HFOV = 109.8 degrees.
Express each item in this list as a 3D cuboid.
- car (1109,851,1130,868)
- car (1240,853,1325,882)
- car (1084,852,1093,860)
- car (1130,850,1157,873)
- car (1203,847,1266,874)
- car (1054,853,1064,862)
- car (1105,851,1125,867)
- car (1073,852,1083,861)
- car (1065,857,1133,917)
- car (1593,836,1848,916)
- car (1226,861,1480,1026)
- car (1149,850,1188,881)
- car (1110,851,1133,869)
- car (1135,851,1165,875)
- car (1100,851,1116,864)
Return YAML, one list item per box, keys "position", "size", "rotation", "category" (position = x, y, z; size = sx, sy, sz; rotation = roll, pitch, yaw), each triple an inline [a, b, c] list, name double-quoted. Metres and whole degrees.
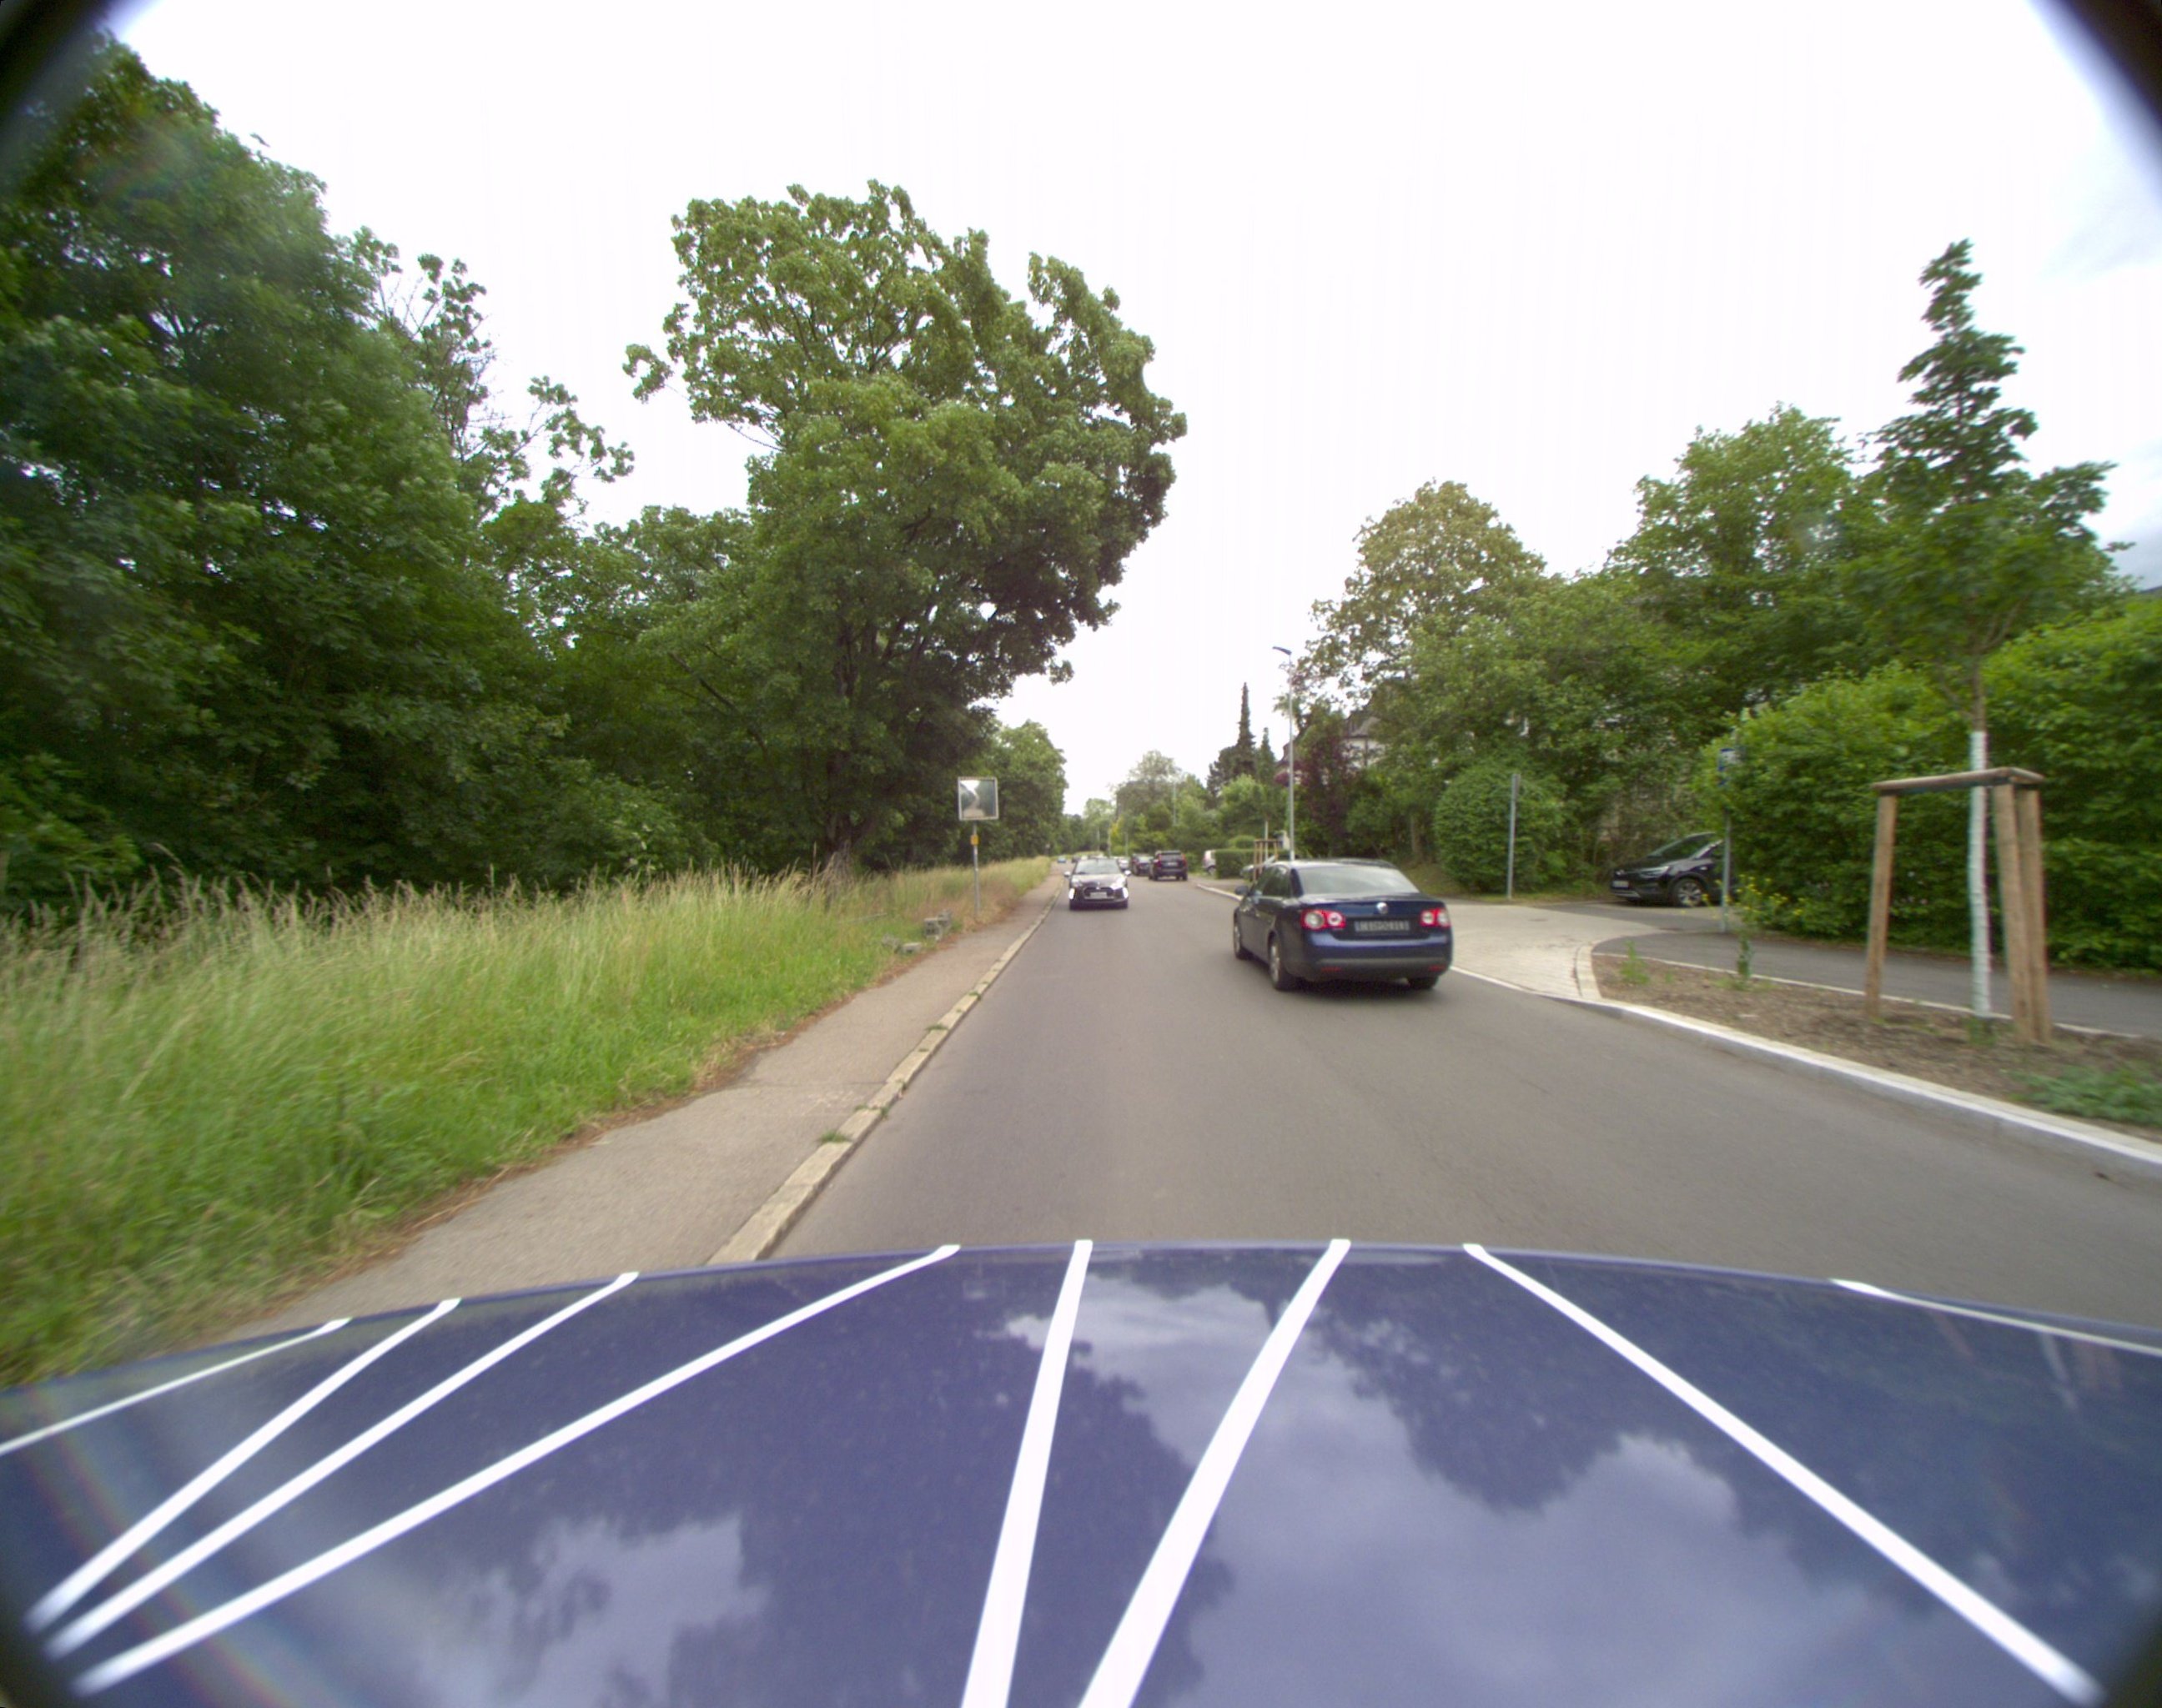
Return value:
- position: [3.987, 0.513, 79.458]
  size: [1.922, 1.670, 4.194]
  rotation: [-2, 0, -1]
  category: "car"
- position: [9.886, 0.657, 37.537]
  size: [3.773, 1.306, 1.641]
  rotation: [-2, 0, 3]
  category: "car"
- position: [1.659, 0.476, 172.110]
  size: [1.922, 1.670, 4.194]
  rotation: [-2, 0, -1]
  category: "car"
- position: [4.983, 0.572, 61.280]
  size: [1.922, 1.670, 4.195]
  rotation: [-2, 0, 2]
  category: "car"
- position: [9.654, 0.411, 48.058]
  size: [3.772, 1.581, 1.641]
  rotation: [-2, 0, 7]
  category: "car"
- position: [-4.393, 0.718, 152.406]
  size: [1.923, 1.670, 4.194]
  rotation: [-2, 0, -3]
  category: "car"
- position: [3.769, 0.500, 84.584]
  size: [1.922, 1.670, 4.194]
  rotation: [-2, 0, -1]
  category: "car"
- position: [-0.622, 0.552, 154.845]
  size: [1.922, 1.670, 4.194]
  rotation: [-2, 0, -1]
  category: "car"
- position: [0.555, 0.874, 21.871]
  size: [1.711, 1.466, 4.195]
  rotation: [-2, 0, 2]
  category: "car"
- position: [13.989, 0.462, 16.795]
  size: [4.129, 1.549, 1.683]
  rotation: [-2, 0, 2]
  category: "car"
- position: [2.972, 0.868, 9.290]
  size: [1.711, 1.466, 4.195]
  rotation: [-2, 0, 2]
  category: "car"
- position: [5.093, 0.632, 44.656]
  size: [1.922, 1.670, 4.195]
  rotation: [-2, 0, 2]
  category: "car"
- position: [3.865, 0.584, 73.760]
  size: [1.922, 1.670, 4.194]
  rotation: [-2, 0, -1]
  category: "car"
- position: [5.013, 0.633, 55.469]
  size: [1.922, 1.670, 4.195]
  rotation: [-2, 0, 2]
  category: "car"
- position: [3.733, 0.524, 103.995]
  size: [1.922, 1.670, 4.194]
  rotation: [-2, 0, -1]
  category: "car"
